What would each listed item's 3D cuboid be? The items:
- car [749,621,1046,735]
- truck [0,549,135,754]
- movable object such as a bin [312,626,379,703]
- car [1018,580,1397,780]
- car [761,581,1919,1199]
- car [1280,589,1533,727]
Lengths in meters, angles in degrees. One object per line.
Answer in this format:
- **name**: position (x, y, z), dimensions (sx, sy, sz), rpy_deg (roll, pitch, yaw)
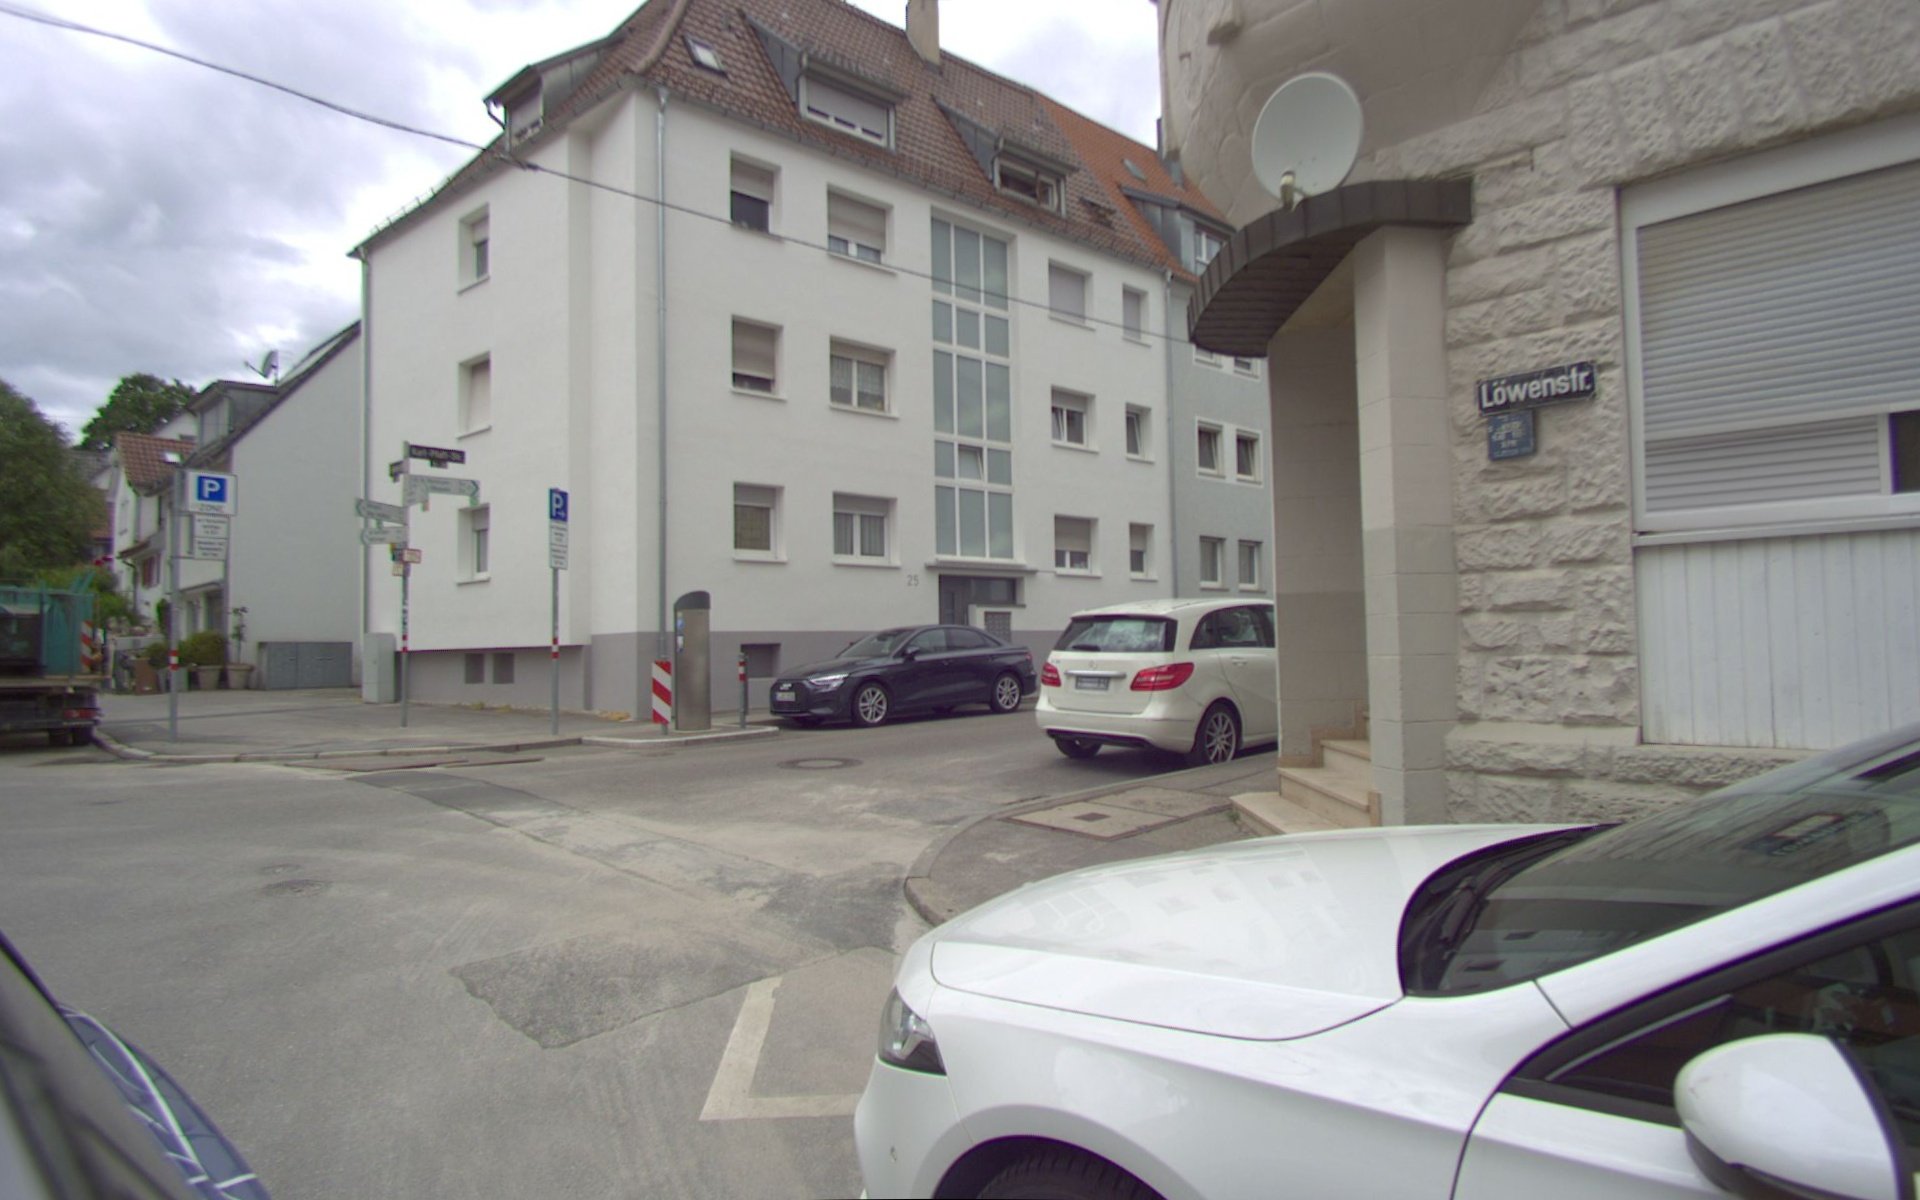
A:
- **car**: position (-0.840, 1.097, 15.248), dimensions (4.232, 1.402, 1.828), rpy_deg (0, -3, -43)
- **truck**: position (-14.301, 0.796, 14.980), dimensions (6.287, 2.571, 2.285), rpy_deg (-4, -5, 43)
- **movable object such as a bin**: position (-13.480, 1.405, 22.206), dimensions (1.002, 1.630, 0.997), rpy_deg (-2, -3, 43)
- **car**: position (2.619, 0.677, 10.209), dimensions (3.967, 1.611, 1.828), rpy_deg (0, -2, -44)
- **car**: position (1.750, 0.703, 1.133), dimensions (4.239, 1.425, 1.681), rpy_deg (-1, -2, 42)
- **car**: position (6.049, 0.657, 13.509), dimensions (3.967, 1.544, 1.674), rpy_deg (-1, 0, -44)
